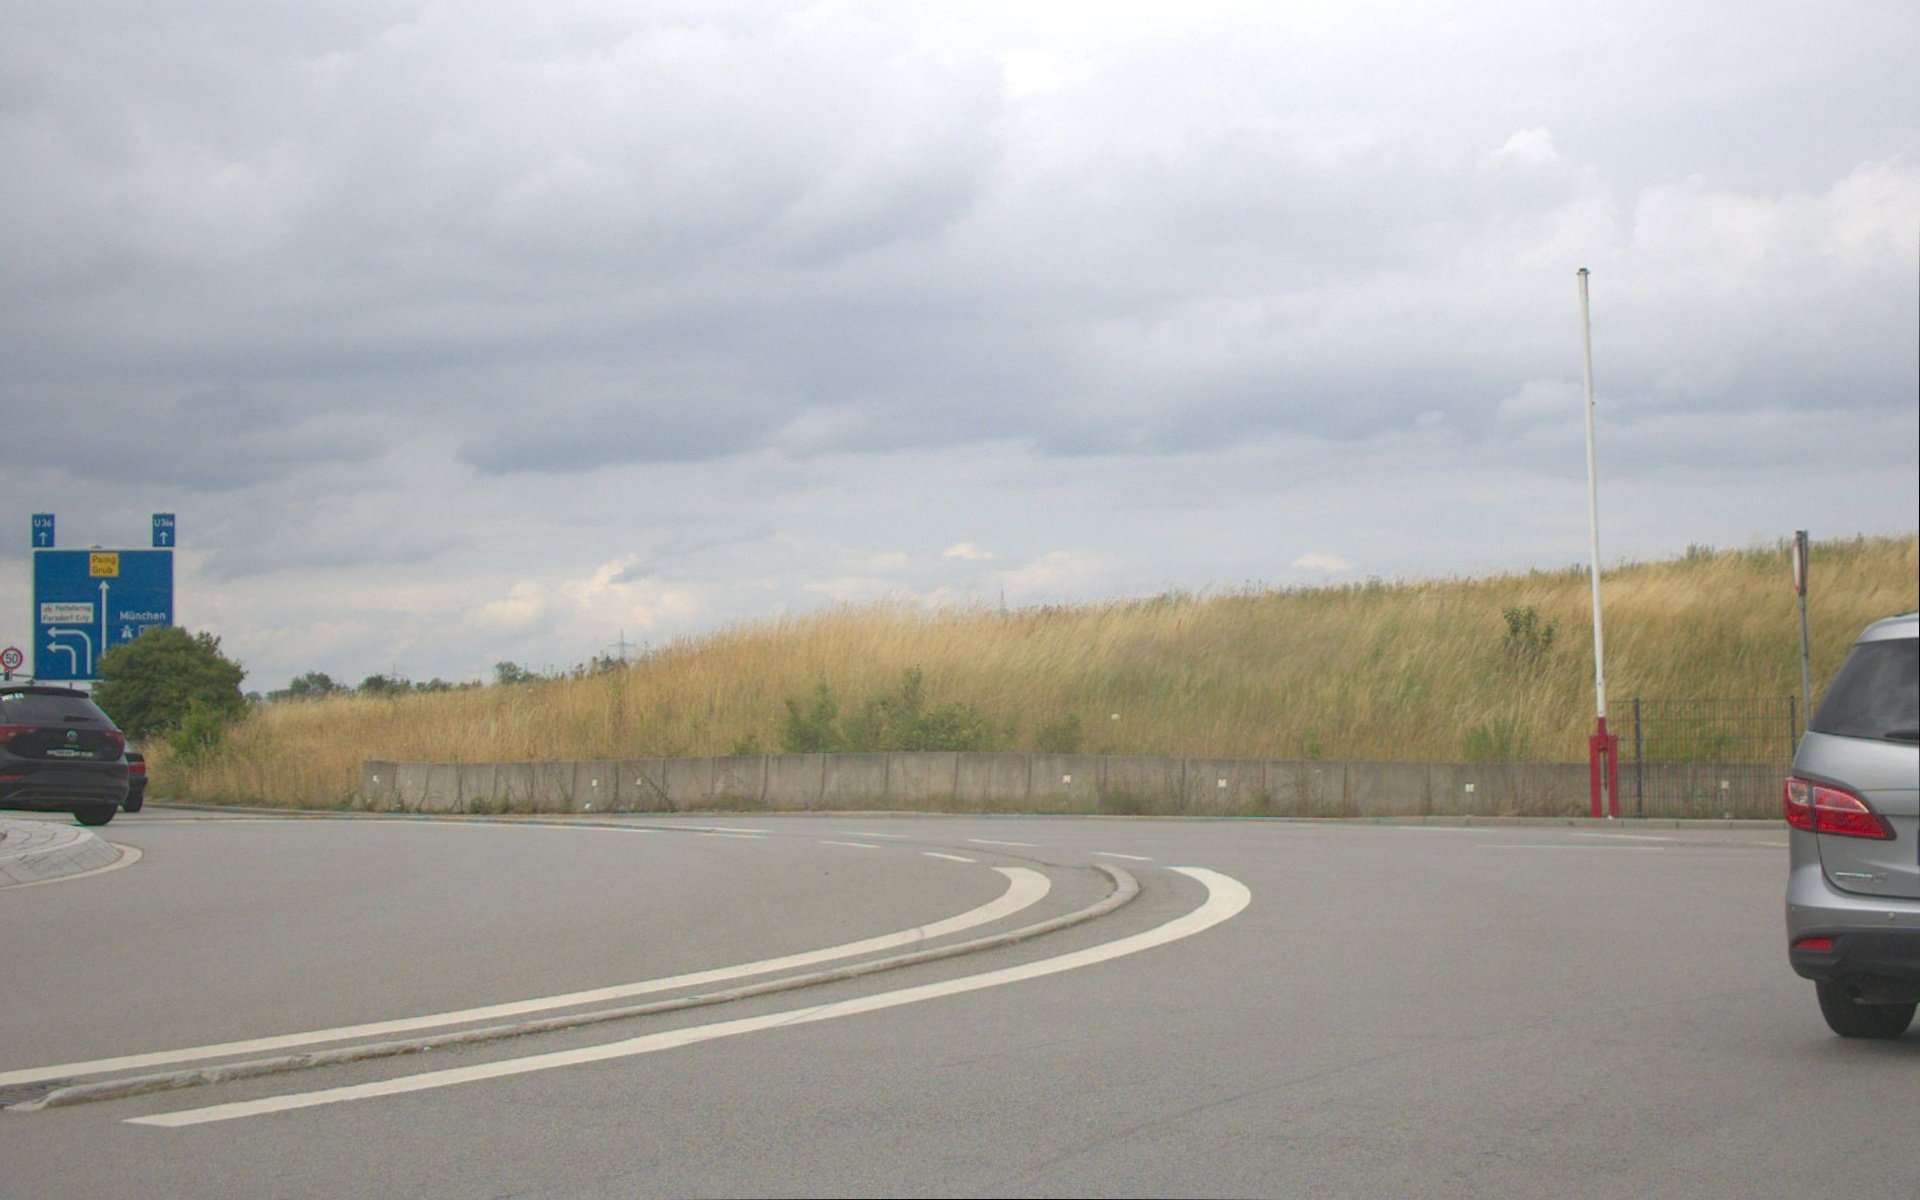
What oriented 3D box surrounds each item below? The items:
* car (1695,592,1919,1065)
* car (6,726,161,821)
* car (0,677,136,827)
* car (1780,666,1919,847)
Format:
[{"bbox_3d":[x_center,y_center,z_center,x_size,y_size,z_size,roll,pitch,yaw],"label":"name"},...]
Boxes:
[{"bbox_3d":[4.469,0.778,12.936,1.915,1.569,3.992,-1,-1,35],"label":"car"},{"bbox_3d":[-14.109,2.784,55.245,1.518,1.481,3.615,1,-3,-29],"label":"car"},{"bbox_3d":[-10.053,1.489,34.333,3.997,1.373,1.663,-2,-1,44],"label":"car"},{"bbox_3d":[10.140,1.462,32.278,4.412,1.623,1.784,1,0,-2],"label":"car"}]
